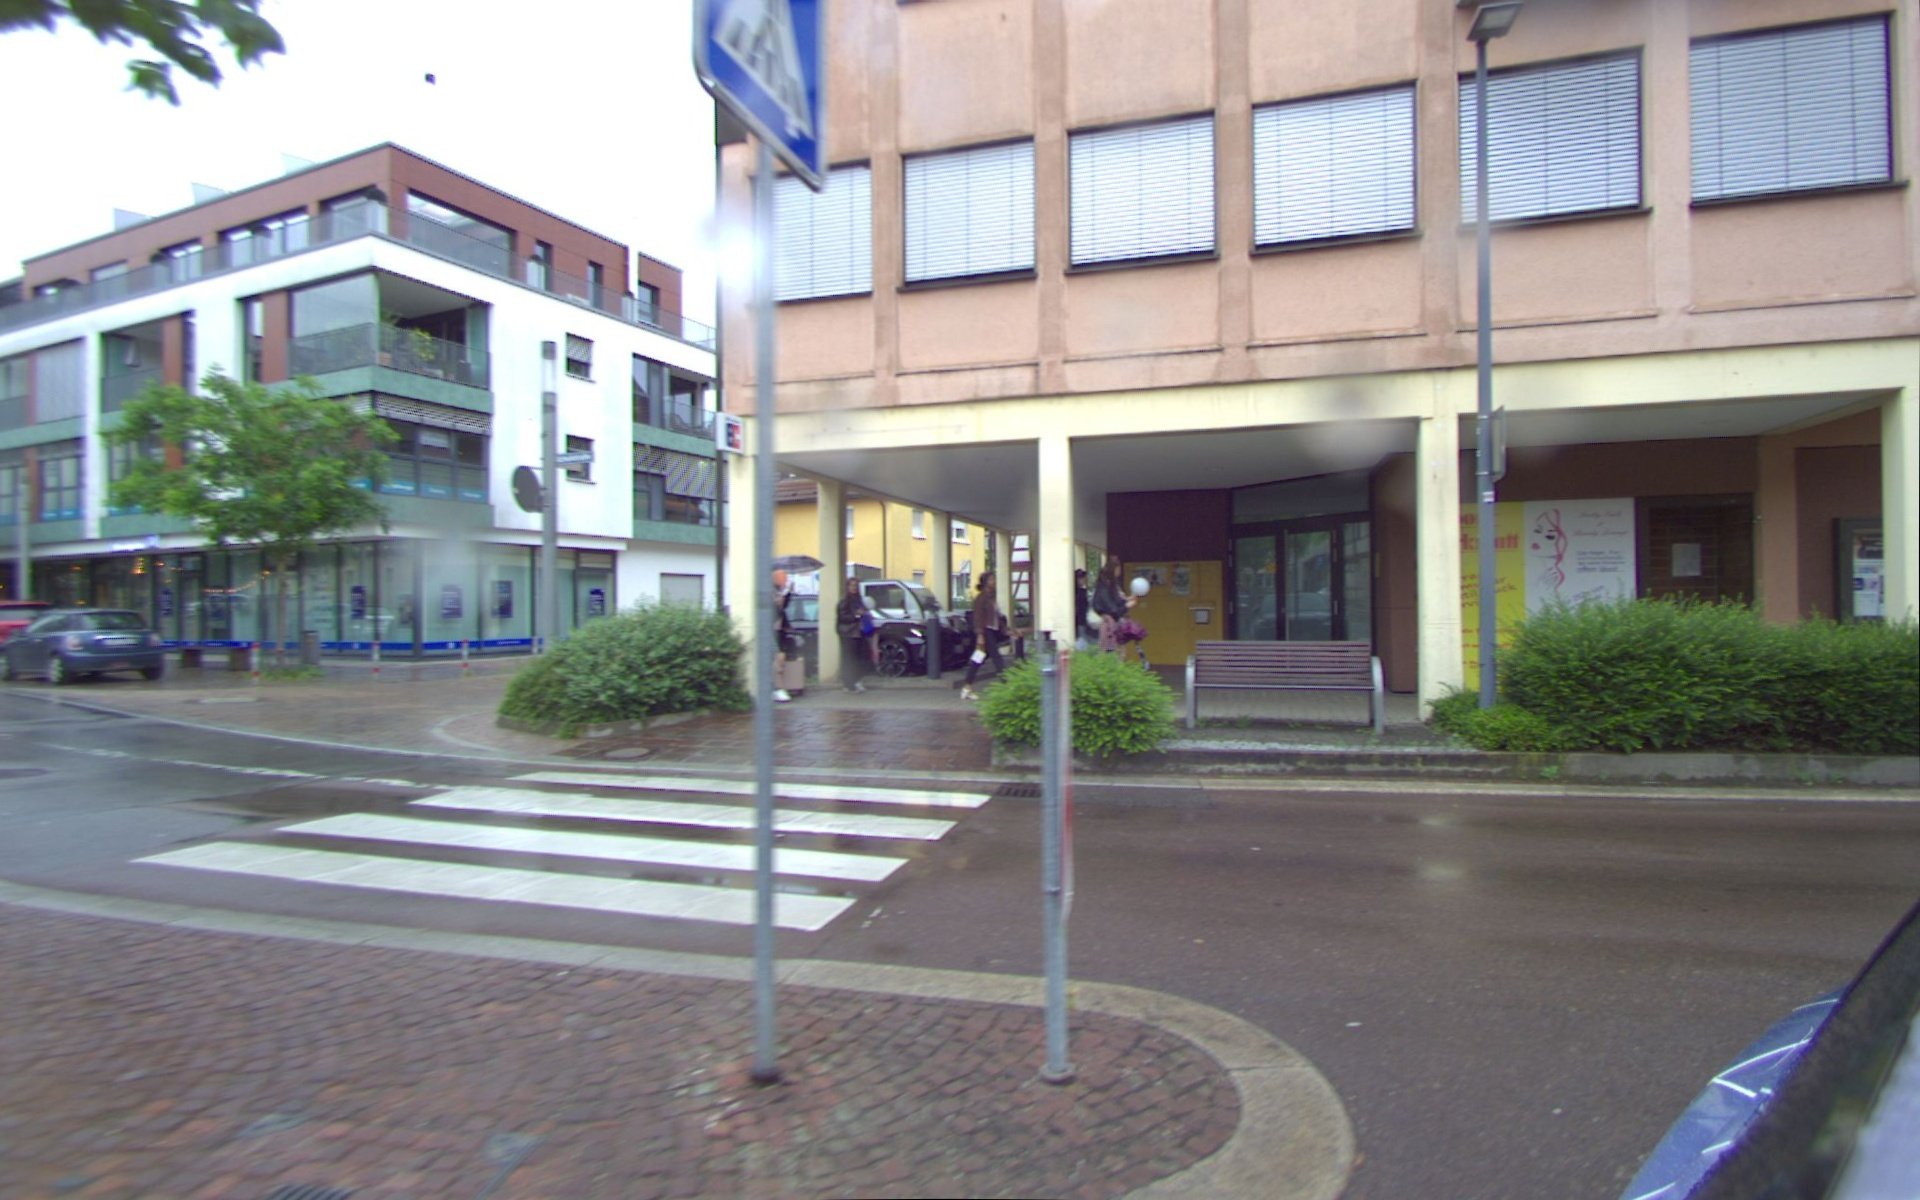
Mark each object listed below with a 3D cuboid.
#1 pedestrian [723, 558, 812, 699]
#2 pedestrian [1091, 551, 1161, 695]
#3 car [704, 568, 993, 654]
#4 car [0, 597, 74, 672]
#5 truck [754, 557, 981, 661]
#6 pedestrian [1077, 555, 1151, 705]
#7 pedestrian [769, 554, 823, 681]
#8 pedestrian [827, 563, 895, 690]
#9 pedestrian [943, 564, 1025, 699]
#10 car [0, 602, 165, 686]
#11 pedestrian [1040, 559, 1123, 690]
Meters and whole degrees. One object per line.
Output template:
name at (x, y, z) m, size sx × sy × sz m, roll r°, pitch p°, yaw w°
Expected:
pedestrian at (-2.492, 0.363, 13.168) m, size 0.880 × 1.771 × 0.732 m, roll -1°, pitch 0°, yaw 18°
pedestrian at (2.062, 0.274, 12.533) m, size 0.723 × 1.711 × 0.721 m, roll -1°, pitch 0°, yaw 19°
car at (-1.807, 0.183, 16.643) m, size 4.411 × 1.292 × 1.758 m, roll -1°, pitch 0°, yaw 18°
car at (-21.857, 0.736, 22.508) m, size 3.953 × 1.519 × 1.618 m, roll 0°, pitch 3°, yaw 22°
truck at (-1.733, 0.173, 19.243) m, size 3.946 × 1.831 × 1.758 m, roll -1°, pitch 0°, yaw 18°
pedestrian at (1.806, 0.341, 11.821) m, size 0.808 × 1.682 × 0.696 m, roll -1°, pitch 0°, yaw 10°
pedestrian at (-2.217, 0.229, 13.735) m, size 0.514 × 1.684 × 0.539 m, roll -1°, pitch 0°, yaw 18°
pedestrian at (-1.370, 0.356, 14.084) m, size 0.733 × 1.711 × 0.632 m, roll -1°, pitch 0°, yaw 19°
pedestrian at (0.309, 0.369, 12.776) m, size 0.816 × 1.624 × 0.740 m, roll 0°, pitch 2°, yaw 22°
car at (-17.427, 0.816, 20.019) m, size 3.344 × 1.378 × 1.526 m, roll 2°, pitch 2°, yaw 30°
pedestrian at (1.575, 0.299, 13.186) m, size 0.781 × 1.639 × 0.708 m, roll -1°, pitch 0°, yaw -34°
